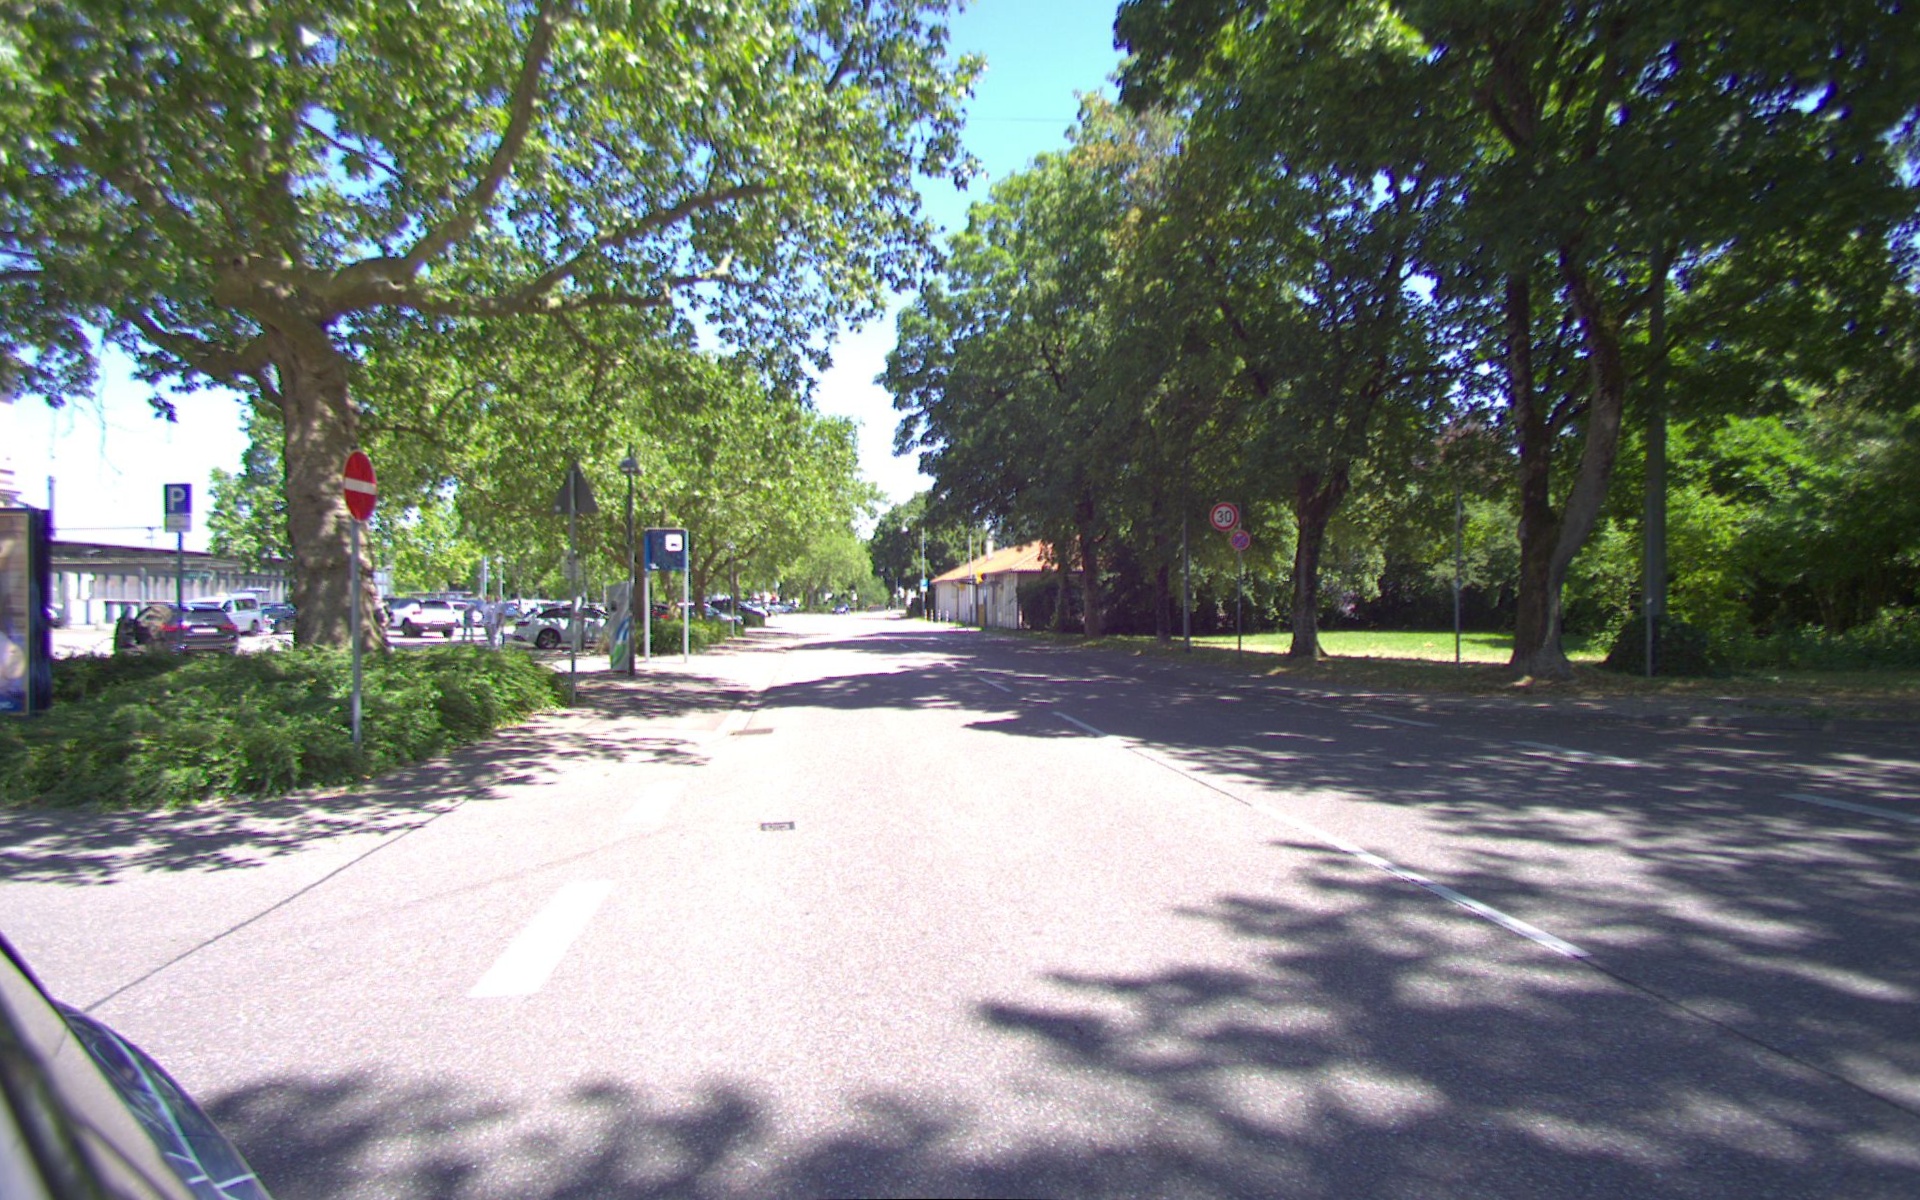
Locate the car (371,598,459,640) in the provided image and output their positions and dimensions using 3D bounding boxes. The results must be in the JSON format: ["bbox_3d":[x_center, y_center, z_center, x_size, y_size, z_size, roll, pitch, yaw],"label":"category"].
[{"bbox_3d":[-23.198,0.759,43.035,4.057,1.617,1.778,1,2,37],"label":"car"}]

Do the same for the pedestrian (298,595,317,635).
[{"bbox_3d":[-33.567,0.758,52.054,0.618,2.005,0.619,-2,0,-13],"label":"pedestrian"}]

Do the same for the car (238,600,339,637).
[{"bbox_3d":[-42.586,1.156,64.309,4.885,2.136,2.056,-2,0,-9],"label":"car"}]

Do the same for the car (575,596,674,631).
[{"bbox_3d":[-14.750,0.587,44.572,3.813,1.471,1.640,0,0,-36],"label":"car"}]

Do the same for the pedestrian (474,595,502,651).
[{"bbox_3d":[-15.454,0.743,33.141,0.824,1.784,0.854,0,0,-27],"label":"pedestrian"}]

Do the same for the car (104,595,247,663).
[{"bbox_3d":[-20.714,0.702,26.670,4.521,1.554,1.779,1,2,36],"label":"car"}]

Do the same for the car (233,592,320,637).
[{"bbox_3d":[-33.281,0.678,49.424,1.971,2.005,4.615,-2,0,-13],"label":"car"}]

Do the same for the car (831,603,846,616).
[{"bbox_3d":[-14.822,1.158,123.707,1.637,1.386,3.455,-3,0,-5],"label":"car"}]

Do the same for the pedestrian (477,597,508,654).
[{"bbox_3d":[-14.901,0.785,32.252,0.824,1.784,0.854,0,0,-28],"label":"pedestrian"}]

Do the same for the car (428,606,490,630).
[{"bbox_3d":[-29.885,1.057,60.358,3.502,1.414,1.784,-1,-1,33],"label":"car"}]

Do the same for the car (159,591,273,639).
[{"bbox_3d":[-31.878,0.617,43.572,1.971,1.854,5.332,-2,0,-13],"label":"car"}]

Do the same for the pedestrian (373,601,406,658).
[{"bbox_3d":[-15.925,0.812,28.254,0.581,1.560,0.611,1,-1,-4],"label":"pedestrian"}]

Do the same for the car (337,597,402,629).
[{"bbox_3d":[-36.929,0.794,63.407,1.969,1.802,4.254,-3,1,-7],"label":"car"}]

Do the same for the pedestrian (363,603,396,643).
[{"bbox_3d":[-21.506,0.849,37.497,0.687,1.435,0.794,-1,-1,26],"label":"pedestrian"}]

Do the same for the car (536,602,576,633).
[{"bbox_3d":[-25.285,1.075,63.271,1.709,1.908,4.012,0,0,-31],"label":"car"}]

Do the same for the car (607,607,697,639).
[{"bbox_3d":[-14.705,1.064,48.435,3.813,1.471,1.640,0,0,-36],"label":"car"}]

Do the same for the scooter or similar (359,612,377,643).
[{"bbox_3d":[-22.062,1.021,37.723,0.401,1.110,0.434,-1,-1,26],"label":"scooter or similar"}]

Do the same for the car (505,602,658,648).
[{"bbox_3d":[-12.819,0.813,34.360,4.695,1.427,1.792,0,0,-27],"label":"car"}]
